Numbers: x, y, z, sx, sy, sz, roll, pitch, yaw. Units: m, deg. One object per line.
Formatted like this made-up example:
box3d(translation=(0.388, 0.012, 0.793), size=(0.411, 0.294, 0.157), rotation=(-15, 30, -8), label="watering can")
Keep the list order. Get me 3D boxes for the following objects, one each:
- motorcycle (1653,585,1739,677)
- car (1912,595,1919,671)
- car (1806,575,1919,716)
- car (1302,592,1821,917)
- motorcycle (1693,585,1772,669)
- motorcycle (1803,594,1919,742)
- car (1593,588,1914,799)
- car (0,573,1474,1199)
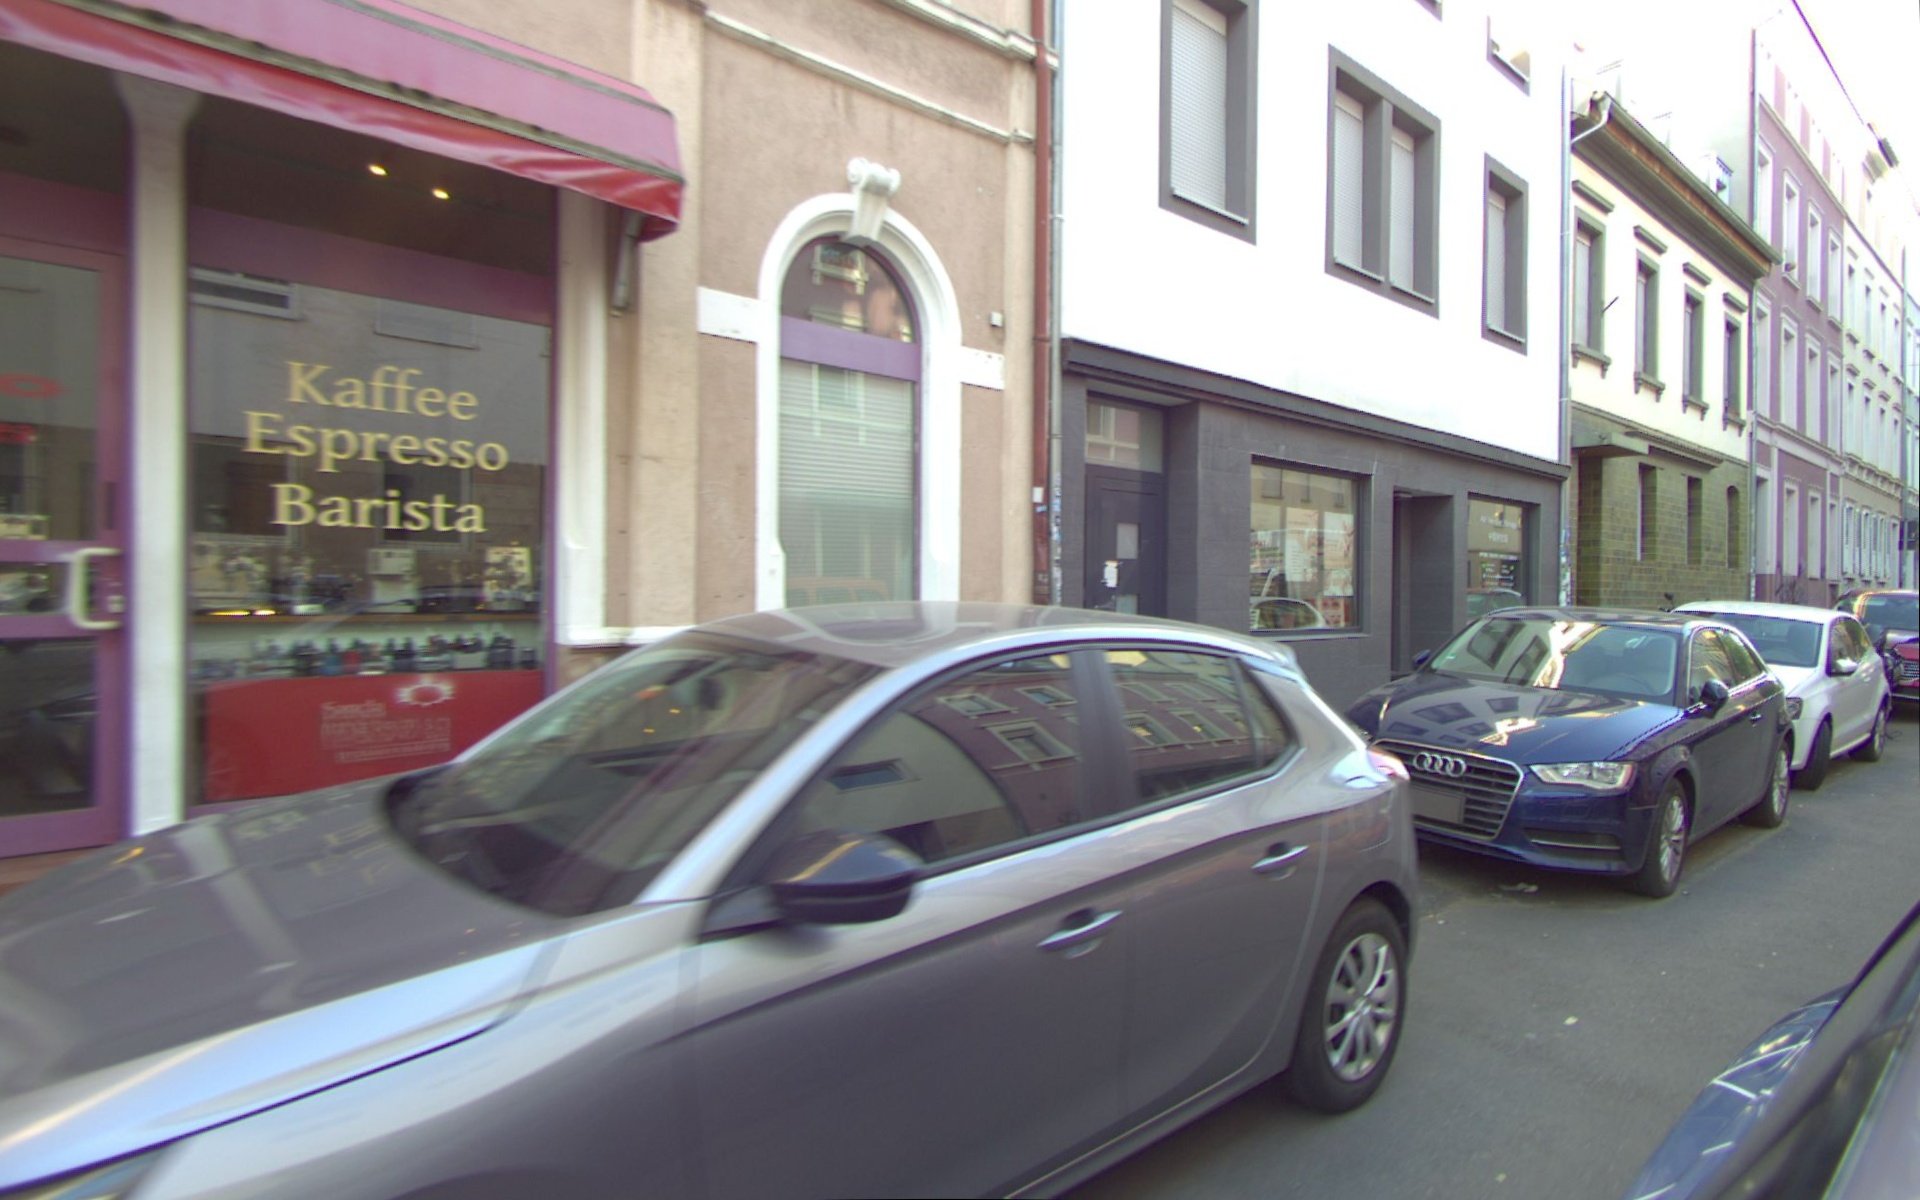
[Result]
box3d(translation=(12.001, 0.463, 16.476), size=(2.002, 1.414, 0.666), rotation=(-1, 0, -41), label="motorcycle")
box3d(translation=(19.665, 0.593, 19.445), size=(3.813, 1.413, 1.611), rotation=(-1, 0, -41), label="car")
box3d(translation=(13.653, 0.558, 14.430), size=(4.331, 1.752, 1.713), rotation=(-1, 3, -41), label="car")
box3d(translation=(4.034, 0.696, 6.540), size=(3.813, 1.413, 1.735), rotation=(-1, 3, -41), label="car")
box3d(translation=(13.674, 0.441, 17.886), size=(2.002, 1.414, 0.696), rotation=(-1, 0, -41), label="motorcycle")
box3d(translation=(10.657, 0.714, 11.719), size=(2.228, 1.508, 0.990), rotation=(-1, 2, -41), label="motorcycle")
box3d(translation=(7.448, 0.676, 9.388), size=(3.706, 1.522, 1.619), rotation=(-1, 3, -41), label="car")
box3d(translation=(-0.298, 0.672, 2.685), size=(3.813, 1.426, 1.612), rotation=(-1, 3, -41), label="car")
